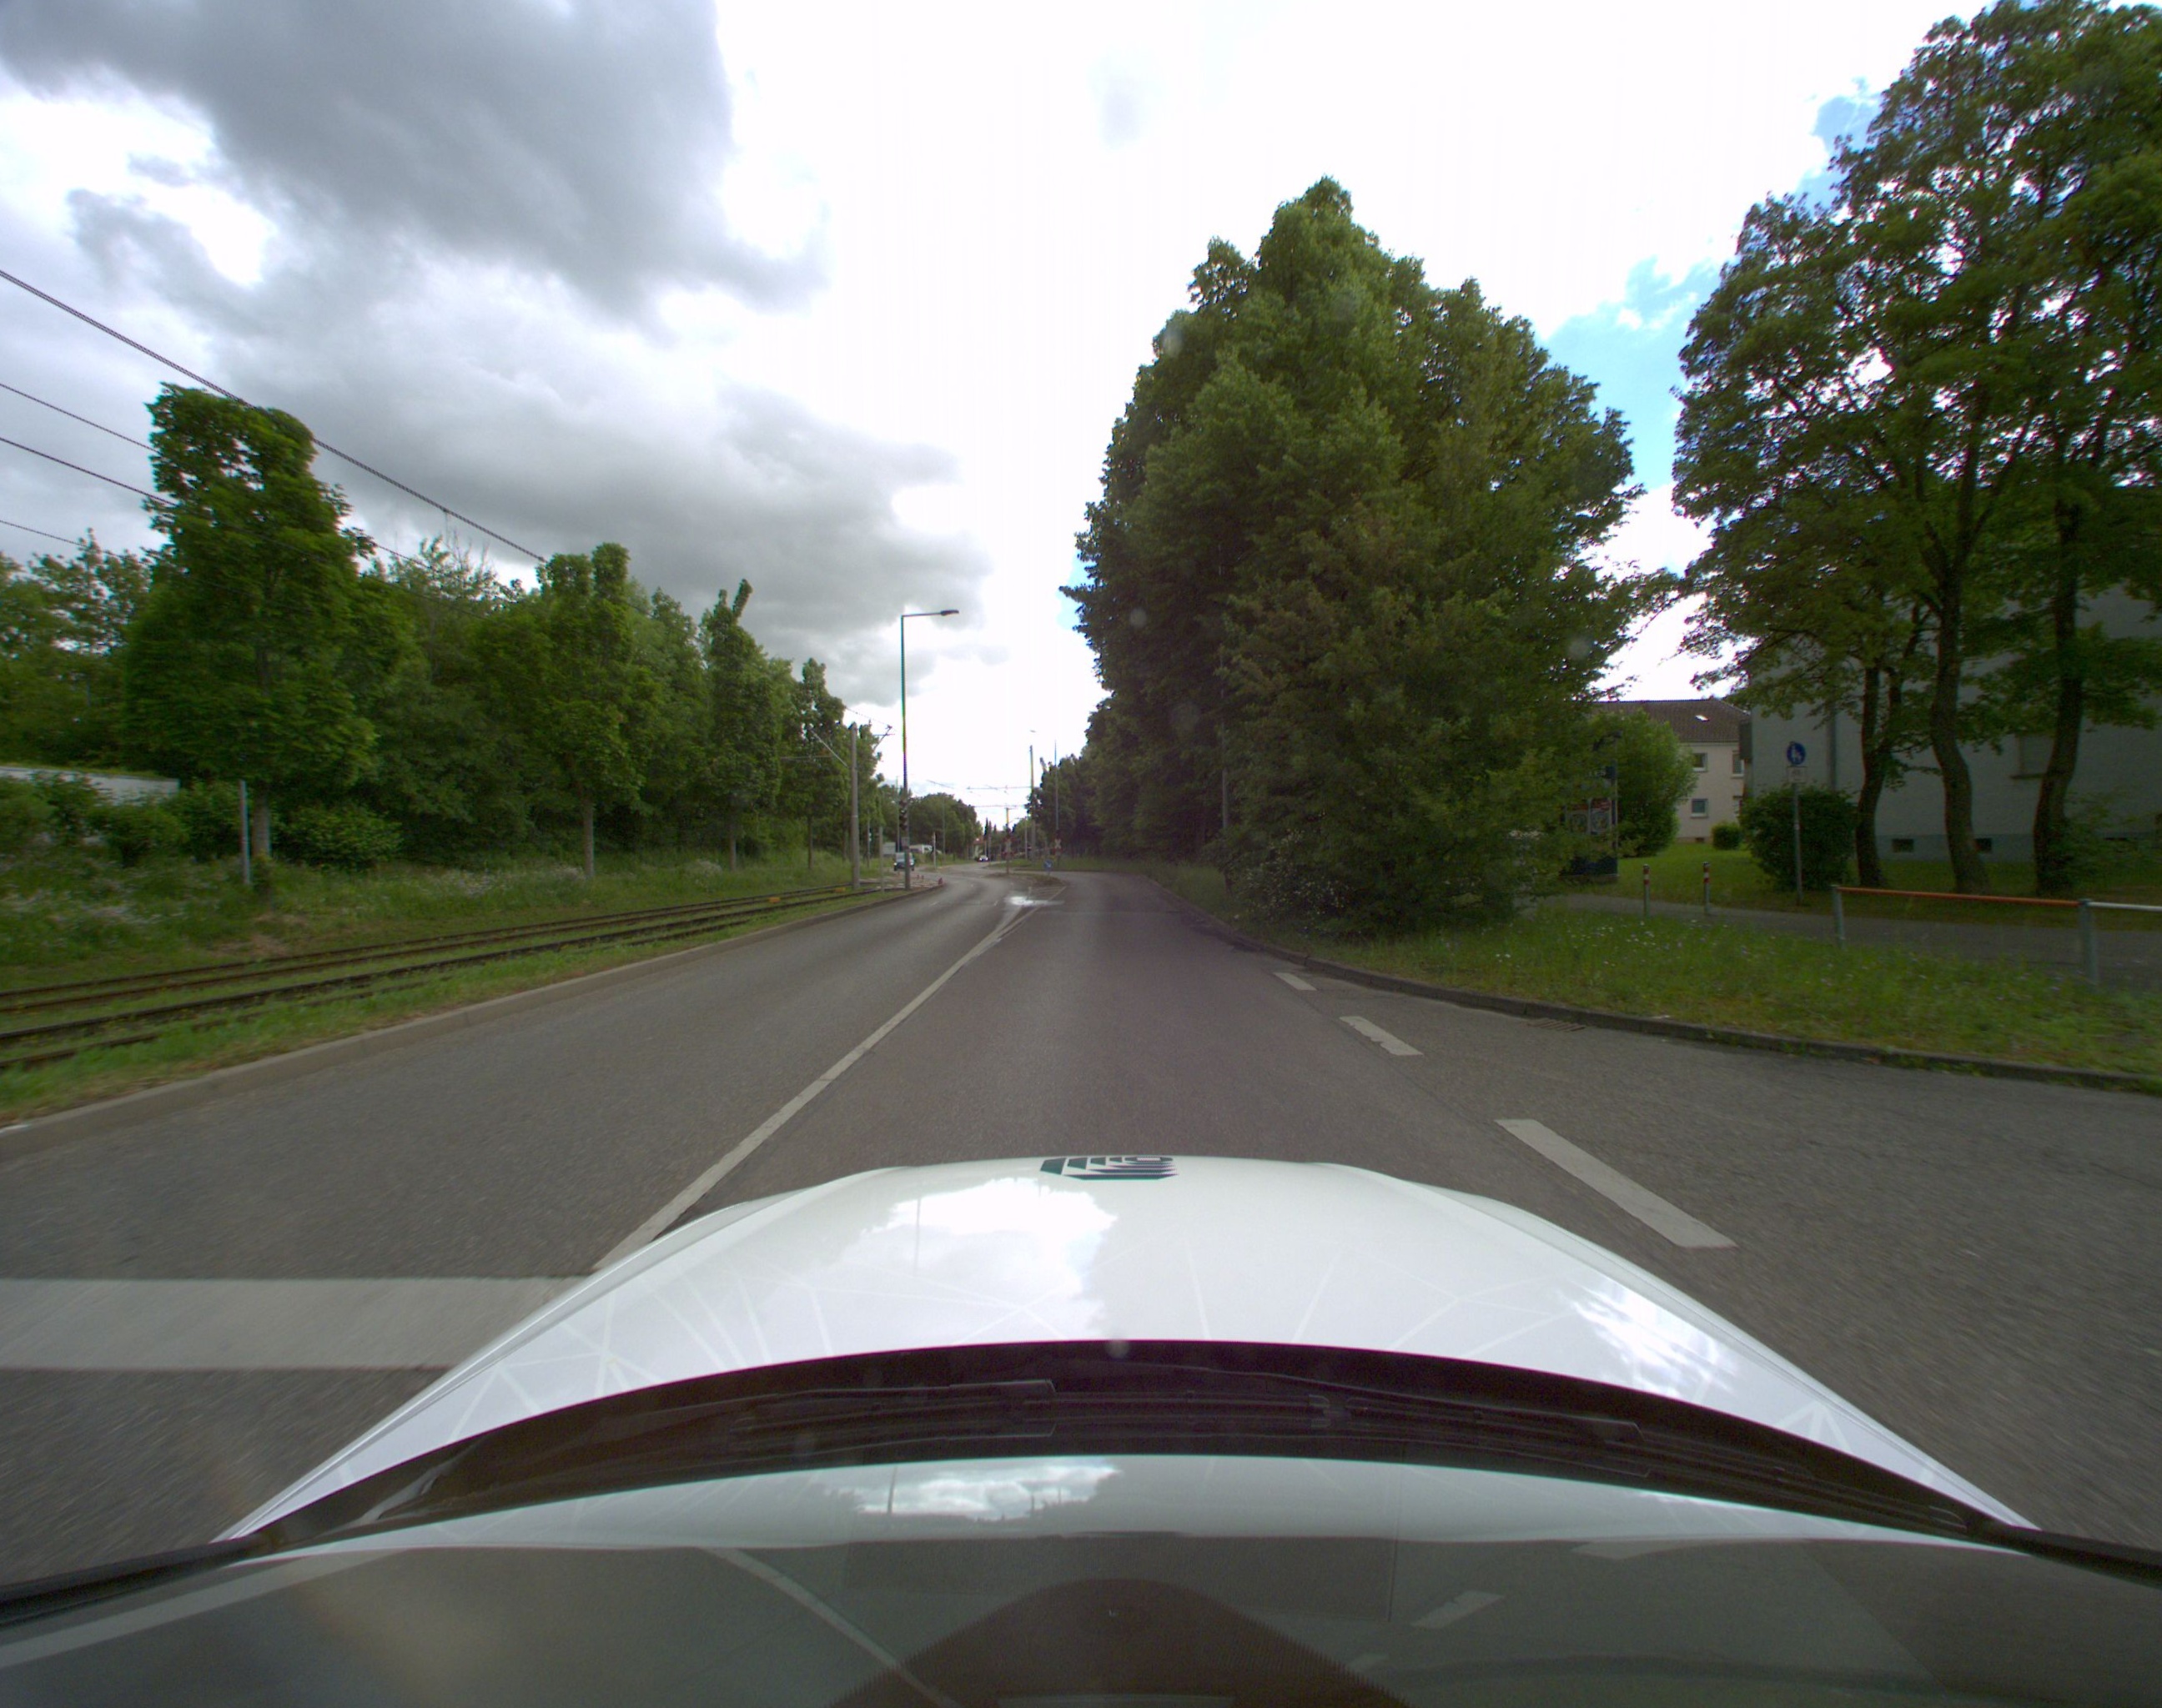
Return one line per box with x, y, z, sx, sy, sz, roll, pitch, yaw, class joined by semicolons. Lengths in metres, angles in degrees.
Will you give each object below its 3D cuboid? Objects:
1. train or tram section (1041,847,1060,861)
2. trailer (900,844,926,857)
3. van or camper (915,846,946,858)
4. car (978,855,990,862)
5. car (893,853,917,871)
-8.044;-0.055;211.324;3.003;3.311;34.643;0;0;-5;train or tram section
-28.090;-0.577;136.134;3.974;2.013;1.908;-1;0;0;trailer
-27.861;-0.356;150.664;5.321;2.203;1.998;0;0;-3;van or camper
-21.495;0.993;180.820;1.986;1.438;4.427;-2;0;1;car
-15.837;0.671;73.344;1.866;1.521;4.226;0;1;-9;car
